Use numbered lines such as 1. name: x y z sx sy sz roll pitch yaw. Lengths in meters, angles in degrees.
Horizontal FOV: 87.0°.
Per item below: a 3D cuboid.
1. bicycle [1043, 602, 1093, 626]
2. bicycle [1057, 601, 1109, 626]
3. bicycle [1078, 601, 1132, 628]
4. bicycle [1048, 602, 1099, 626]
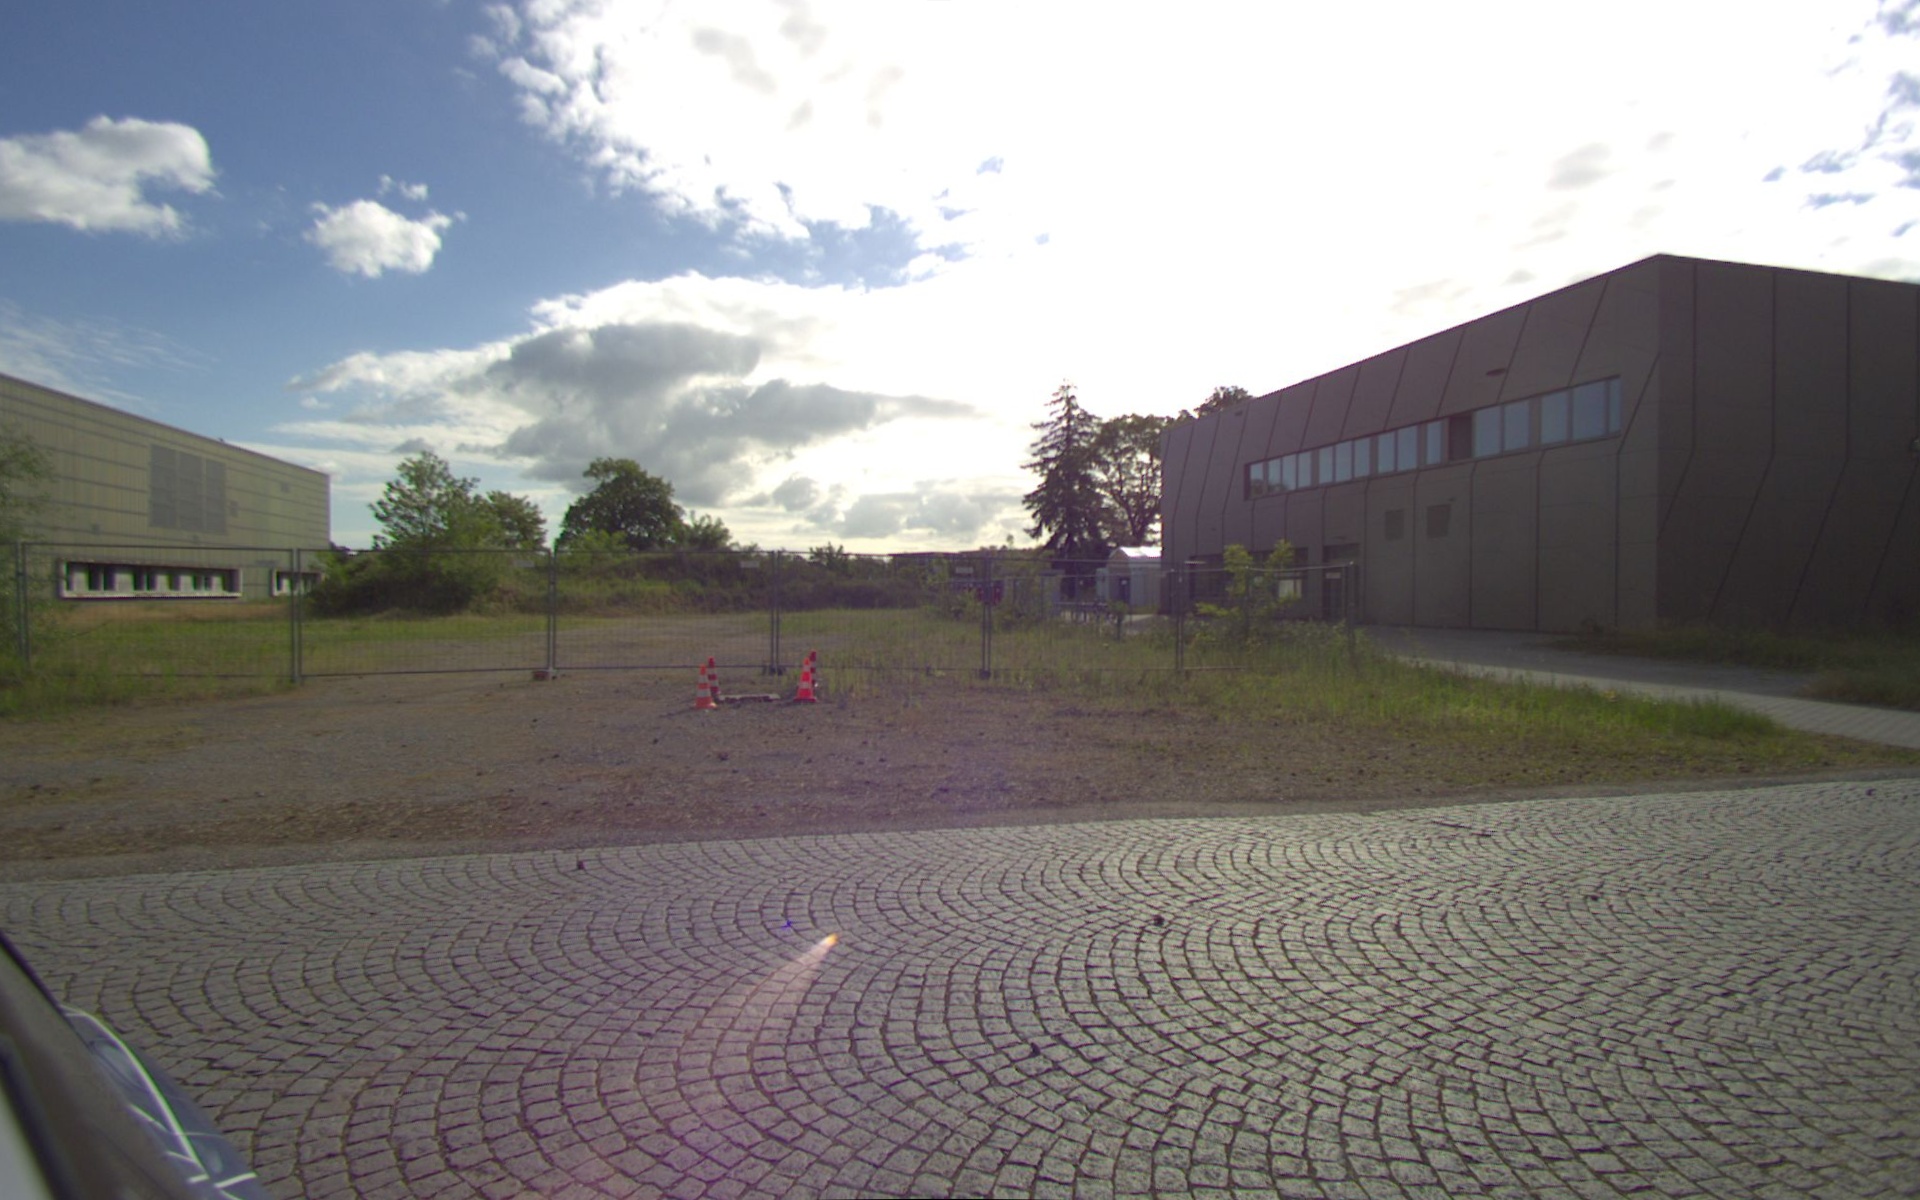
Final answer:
1. bicycle: 4.954 0.622 46.426 2.034 1.052 0.949 0 0 -15
2. bicycle: 5.376 0.591 44.325 2.034 1.052 0.949 0 0 -15
3. bicycle: 6.029 0.583 42.152 2.034 1.095 0.949 0 0 -15
4. bicycle: 5.084 0.608 45.410 2.034 1.052 0.949 0 0 -15
